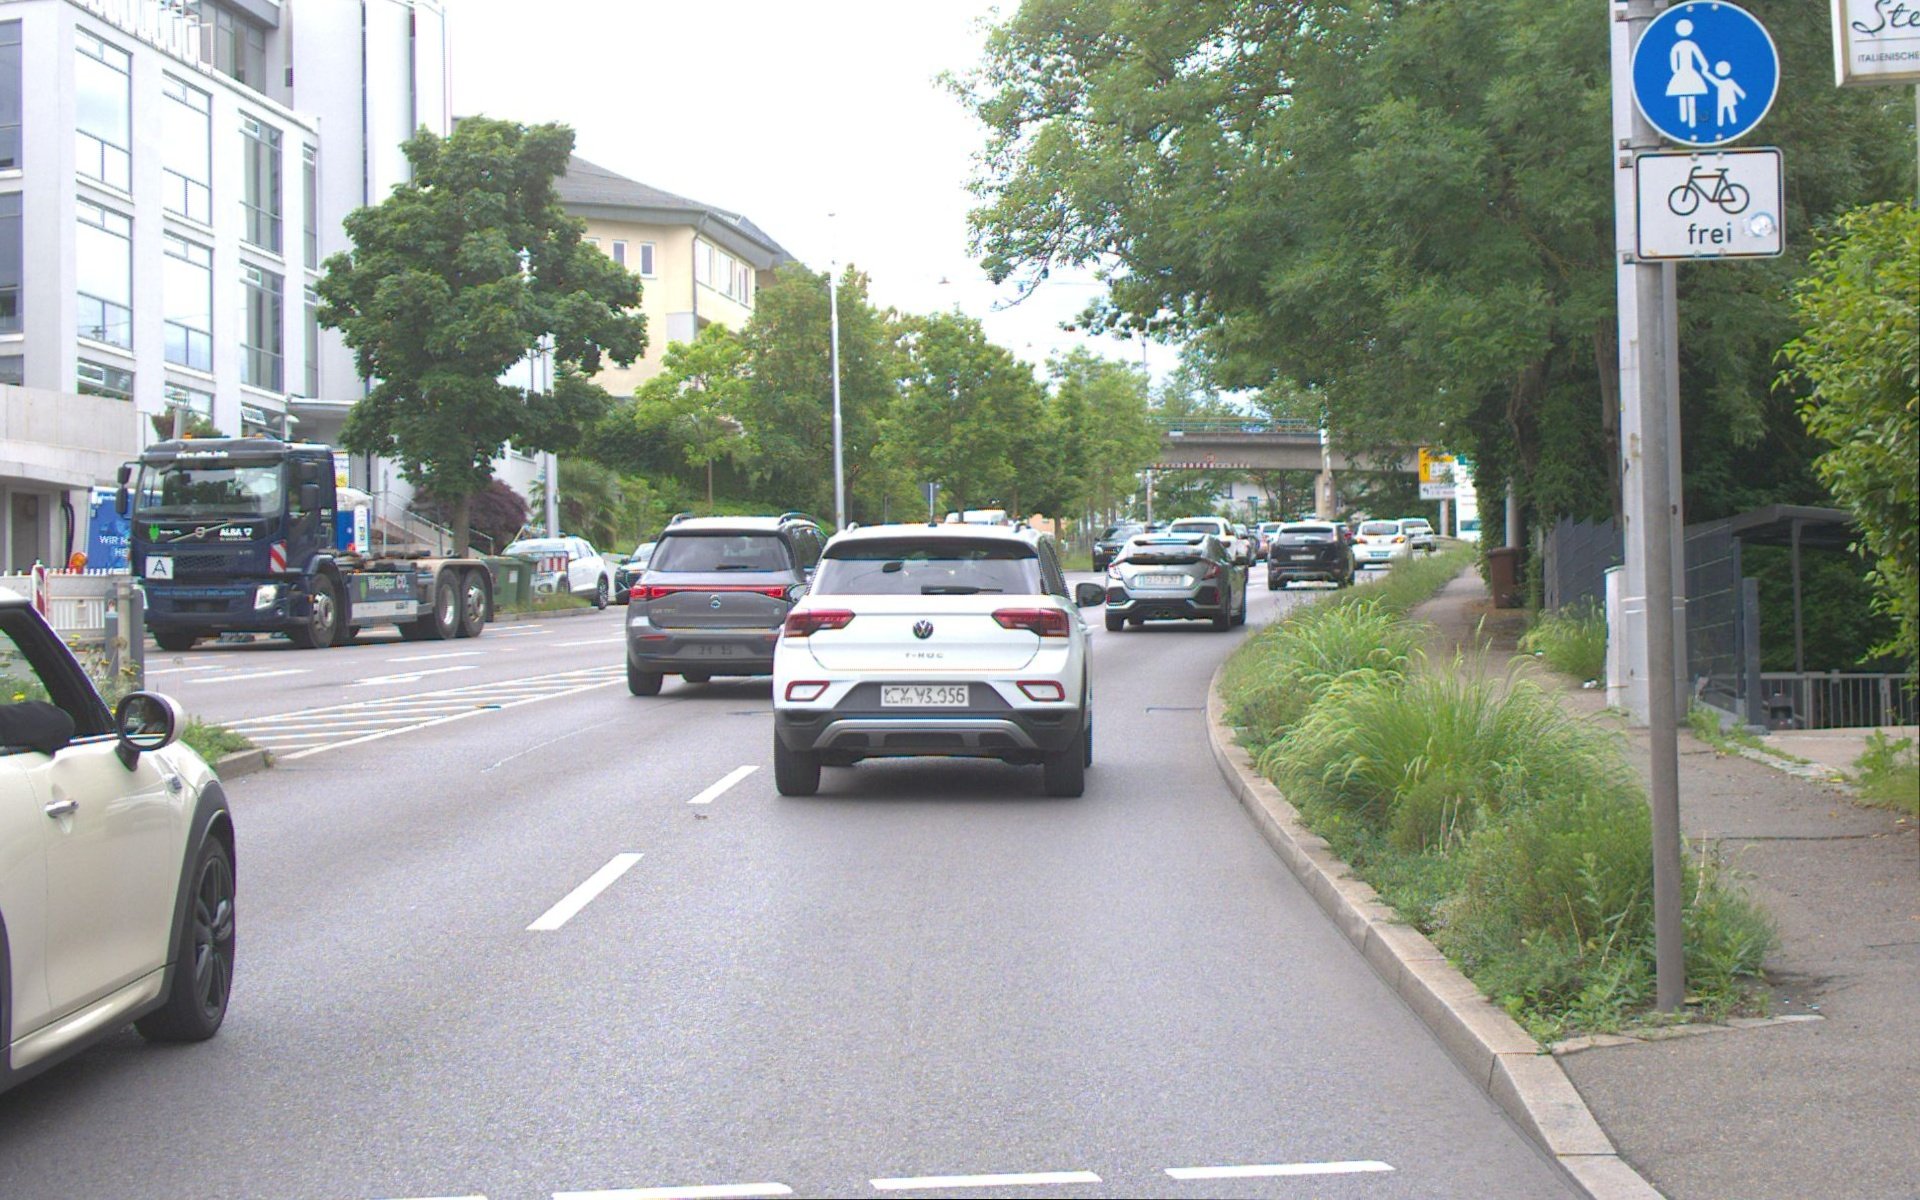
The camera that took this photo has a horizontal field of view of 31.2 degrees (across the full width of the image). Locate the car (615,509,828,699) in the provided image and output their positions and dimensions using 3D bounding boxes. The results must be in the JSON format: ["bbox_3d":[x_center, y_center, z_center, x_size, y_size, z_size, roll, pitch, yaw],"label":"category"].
[{"bbox_3d":[-2.190,-0.010,32.639,1.812,1.646,4.637,-1,1,-2],"label":"car"}]

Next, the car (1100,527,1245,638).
[{"bbox_3d":[3.203,-0.257,51.151,1.873,1.496,4.554,3,1,6],"label":"car"}]

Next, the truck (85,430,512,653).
[{"bbox_3d":[-9.409,-0.878,50.246,2.962,2.961,8.974,1,1,11],"label":"truck"}]

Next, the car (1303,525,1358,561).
[{"bbox_3d":[16.097,-2.497,149.368,1.858,1.495,4.056,-1,1,-1],"label":"car"}]

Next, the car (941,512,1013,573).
[{"bbox_3d":[0.684,-2.215,132.448,2.069,2.298,5.464,0,1,8],"label":"car"}]

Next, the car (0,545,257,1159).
[{"bbox_3d":[-3.009,0.576,8.833,1.628,1.388,3.566,-1,1,0],"label":"car"}]

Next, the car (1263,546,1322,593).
[{"bbox_3d":[11.276,-1.038,116.431,1.858,1.495,4.055,-1,1,7],"label":"car"}]

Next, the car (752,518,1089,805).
[{"bbox_3d":[-0.198,0.299,20.631,1.811,1.534,3.690,-1,1,1],"label":"car"}]

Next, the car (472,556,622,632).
[{"bbox_3d":[-8.583,-0.153,71.818,1.772,1.493,4.302,0,1,13],"label":"car"}]

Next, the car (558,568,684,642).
[{"bbox_3d":[-7.898,0.099,80.397,1.772,1.628,3.914,0,1,13],"label":"car"}]

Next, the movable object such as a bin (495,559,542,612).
[{"bbox_3d":[-8.237,-0.274,64.121,0.645,0.986,0.659,0,1,18],"label":"movable object such as a bin"}]

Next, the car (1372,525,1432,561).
[{"bbox_3d":[18.881,-2.449,146.949,1.985,1.495,4.056,-1,1,-1],"label":"car"}]

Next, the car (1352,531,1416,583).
[{"bbox_3d":[12.915,-1.321,104.655,1.858,1.495,4.055,-1,1,7],"label":"car"}]

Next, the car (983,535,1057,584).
[{"bbox_3d":[2.070,-1.405,117.979,2.069,1.651,4.692,0,1,7],"label":"car"}]

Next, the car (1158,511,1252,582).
[{"bbox_3d":[5.970,-1.308,83.391,1.859,1.646,4.635,-1,1,9],"label":"car"}]

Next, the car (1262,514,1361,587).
[{"bbox_3d":[7.883,-1.077,76.796,1.874,1.496,4.553,3,1,9],"label":"car"}]
